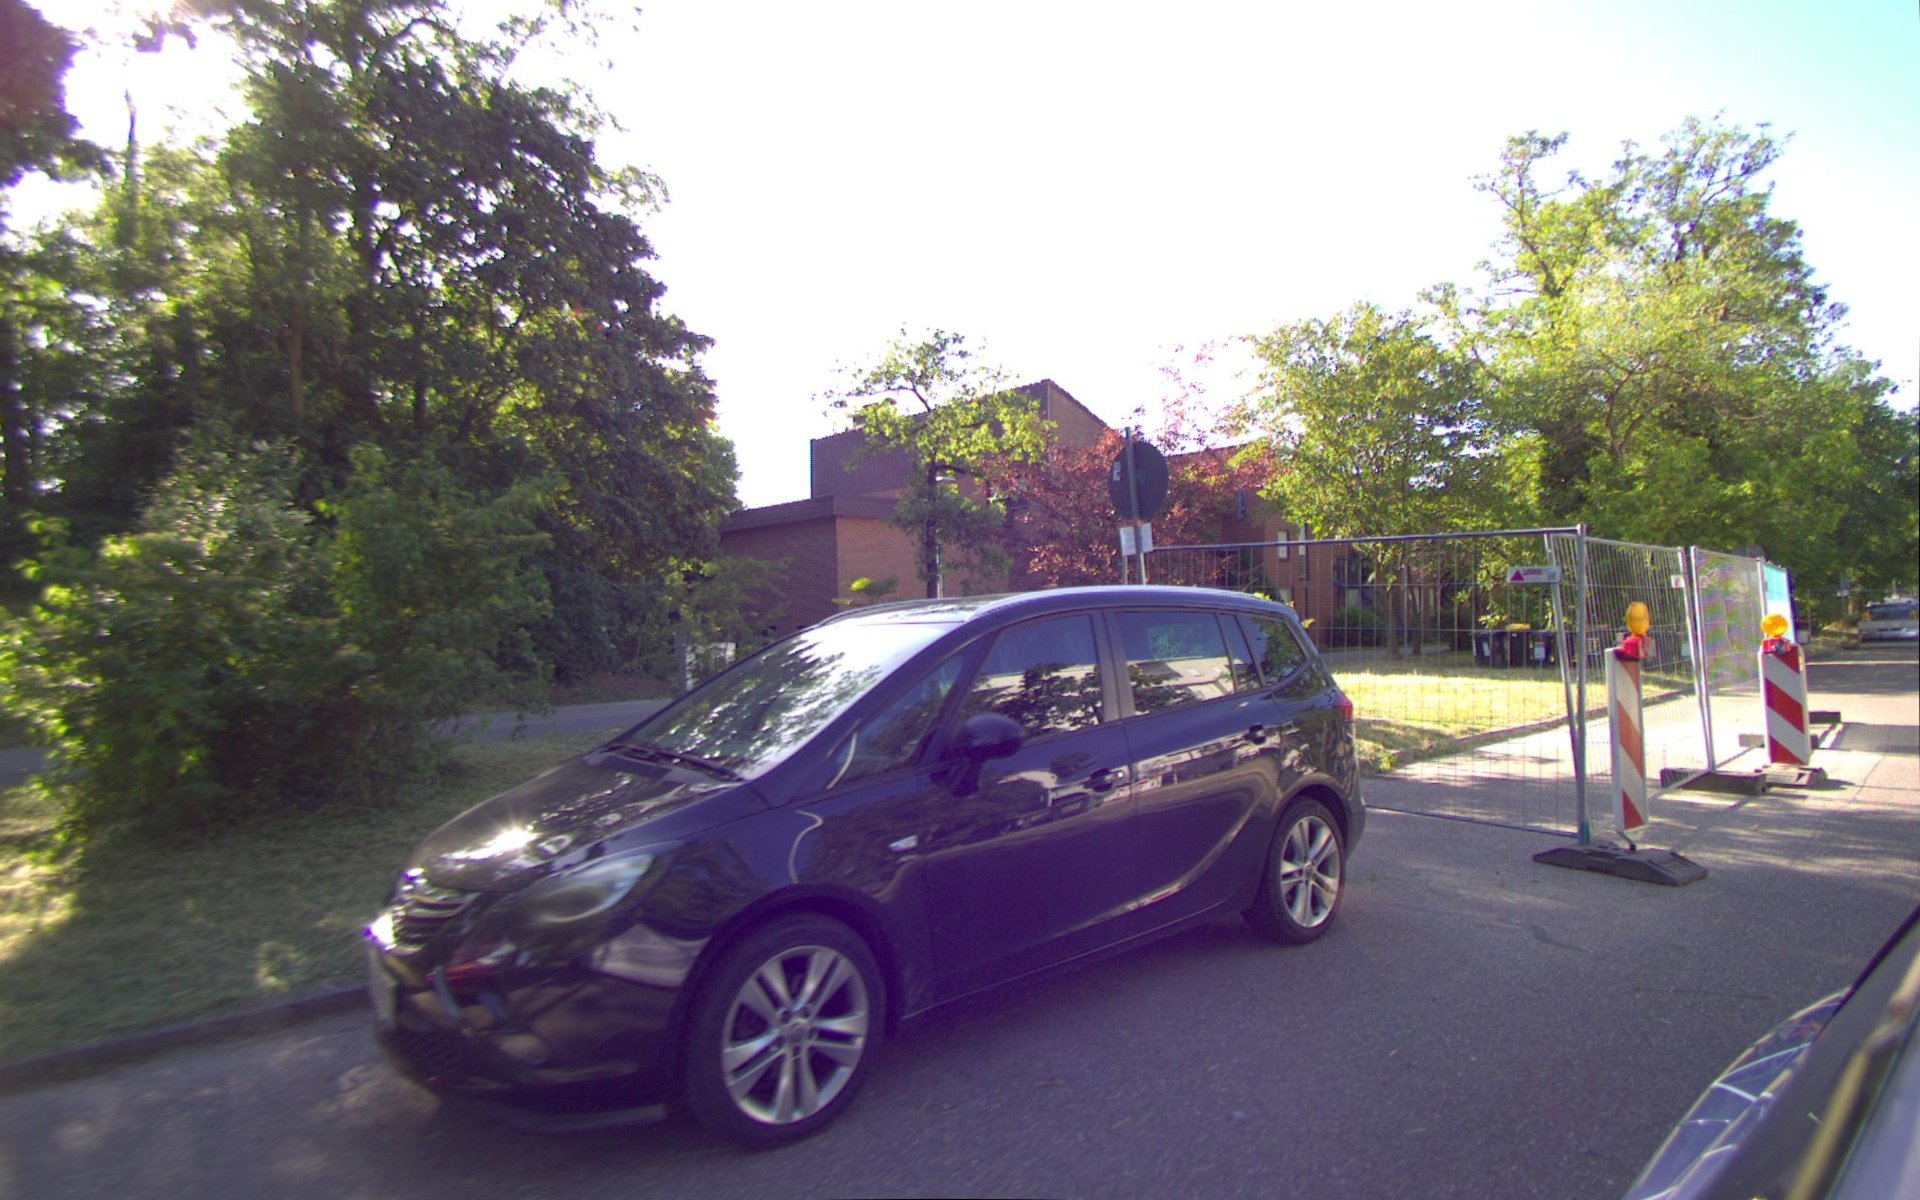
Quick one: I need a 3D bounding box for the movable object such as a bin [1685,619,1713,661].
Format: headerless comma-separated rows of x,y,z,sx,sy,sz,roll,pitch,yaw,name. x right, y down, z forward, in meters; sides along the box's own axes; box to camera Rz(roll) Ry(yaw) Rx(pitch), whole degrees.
16.215,0.871,22.209,0.476,0.881,0.413,-1,0,-42,movable object such as a bin

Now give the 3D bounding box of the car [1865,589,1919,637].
34.456,0.440,36.989,4.068,1.643,1.679,0,-3,-44,car

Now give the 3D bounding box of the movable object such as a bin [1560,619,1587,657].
14.544,0.892,23.993,0.516,0.881,0.419,-1,0,-42,movable object such as a bin

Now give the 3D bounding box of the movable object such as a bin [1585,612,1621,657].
15.008,0.800,23.630,0.598,1.012,0.563,-1,0,-42,movable object such as a bin

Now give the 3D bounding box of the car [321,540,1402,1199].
-0.099,0.723,4.382,4.341,1.672,1.813,-1,-3,-39,car

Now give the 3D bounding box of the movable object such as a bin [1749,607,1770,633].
28.550,0.714,36.135,0.483,0.872,0.550,-3,-2,45,movable object such as a bin

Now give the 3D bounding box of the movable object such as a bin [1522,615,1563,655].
14.114,0.835,24.519,0.683,0.940,0.695,-1,0,-42,movable object such as a bin

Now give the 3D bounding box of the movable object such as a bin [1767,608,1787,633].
28.852,0.714,35.739,0.483,0.872,0.550,-3,-2,45,movable object such as a bin

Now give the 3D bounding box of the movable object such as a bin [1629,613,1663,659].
15.605,0.802,23.022,0.598,1.012,0.519,-1,0,-42,movable object such as a bin

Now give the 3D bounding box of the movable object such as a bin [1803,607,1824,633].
29.545,0.689,35.038,0.483,0.872,0.550,-3,-2,45,movable object such as a bin

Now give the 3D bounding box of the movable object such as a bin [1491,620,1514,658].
13.404,0.962,24.994,0.423,0.893,0.518,0,0,36,movable object such as a bin

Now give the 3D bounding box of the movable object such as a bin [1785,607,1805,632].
29.198,0.686,35.385,0.483,0.872,0.550,-3,-2,45,movable object such as a bin

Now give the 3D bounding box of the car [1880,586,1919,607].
94.372,-0.394,99.845,1.967,2.030,5.258,0,-1,-44,car

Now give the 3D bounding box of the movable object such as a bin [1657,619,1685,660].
15.837,0.871,22.529,0.476,0.881,0.413,-1,0,-42,movable object such as a bin
